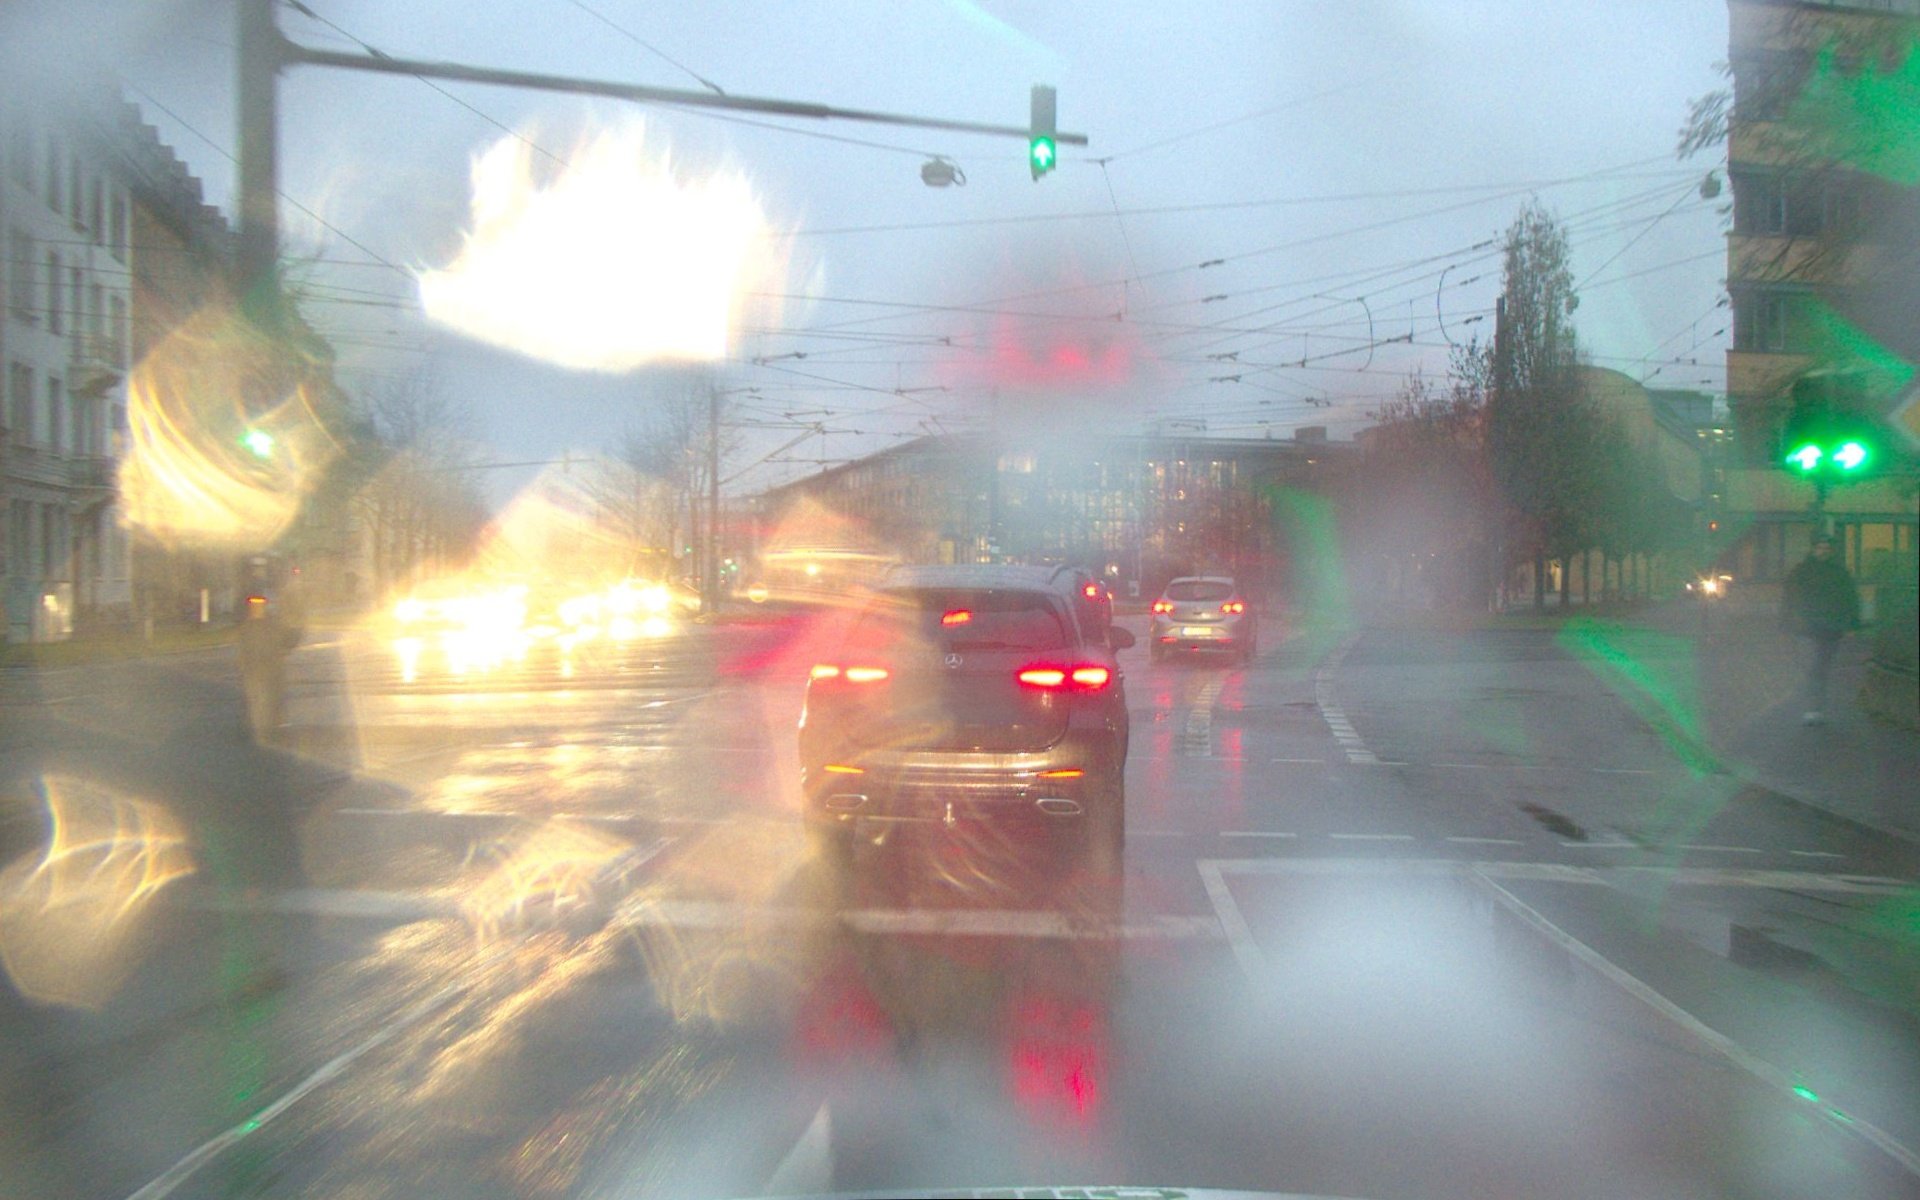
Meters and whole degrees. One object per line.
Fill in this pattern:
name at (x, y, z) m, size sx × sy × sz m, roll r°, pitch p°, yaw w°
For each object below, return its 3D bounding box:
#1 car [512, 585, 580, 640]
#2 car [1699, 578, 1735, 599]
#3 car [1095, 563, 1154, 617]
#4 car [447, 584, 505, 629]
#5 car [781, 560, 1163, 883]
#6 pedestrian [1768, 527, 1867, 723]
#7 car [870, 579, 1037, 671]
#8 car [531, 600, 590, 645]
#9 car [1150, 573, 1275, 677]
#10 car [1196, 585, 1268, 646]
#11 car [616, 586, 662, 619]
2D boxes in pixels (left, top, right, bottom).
car at (-11.828, 0.322, 47.430) m, size 1.650 × 1.483 × 4.052 m, roll 0°, pitch 1°, yaw -11°
car at (44.489, -0.697, 97.166) m, size 1.636 × 1.201 × 3.701 m, roll 0°, pitch 1°, yaw 30°
car at (5.697, -0.380, 57.442) m, size 1.951 × 1.796 × 4.003 m, roll 0°, pitch 1°, yaw 5°
car at (-16.054, 0.190, 54.987) m, size 1.651 × 1.416 × 3.602 m, roll 0°, pitch 1°, yaw -13°
car at (0.085, 0.593, 10.495) m, size 1.950 × 1.644 × 4.001 m, roll 0°, pitch 1°, yaw 1°
pedestrian at (8.542, 0.237, 16.495) m, size 0.560 × 1.870 × 0.684 m, roll -6°, pitch 1°, yaw 11°
car at (-0.018, 0.368, 27.909) m, size 1.951 × 1.422 × 4.004 m, roll 0°, pitch 1°, yaw 13°
car at (-14.113, 0.770, 58.333) m, size 1.655 × 1.483 × 4.311 m, roll 0°, pitch 1°, yaw -19°
car at (4.783, 0.407, 30.892) m, size 1.951 × 1.796 × 4.004 m, roll 0°, pitch 1°, yaw 14°
car at (8.366, 0.445, 51.151) m, size 1.951 × 1.796 × 4.003 m, roll 0°, pitch 1°, yaw 5°
car at (-13.113, 0.074, 67.341) m, size 1.511 × 1.267 × 4.070 m, roll -1°, pitch 1°, yaw -16°
